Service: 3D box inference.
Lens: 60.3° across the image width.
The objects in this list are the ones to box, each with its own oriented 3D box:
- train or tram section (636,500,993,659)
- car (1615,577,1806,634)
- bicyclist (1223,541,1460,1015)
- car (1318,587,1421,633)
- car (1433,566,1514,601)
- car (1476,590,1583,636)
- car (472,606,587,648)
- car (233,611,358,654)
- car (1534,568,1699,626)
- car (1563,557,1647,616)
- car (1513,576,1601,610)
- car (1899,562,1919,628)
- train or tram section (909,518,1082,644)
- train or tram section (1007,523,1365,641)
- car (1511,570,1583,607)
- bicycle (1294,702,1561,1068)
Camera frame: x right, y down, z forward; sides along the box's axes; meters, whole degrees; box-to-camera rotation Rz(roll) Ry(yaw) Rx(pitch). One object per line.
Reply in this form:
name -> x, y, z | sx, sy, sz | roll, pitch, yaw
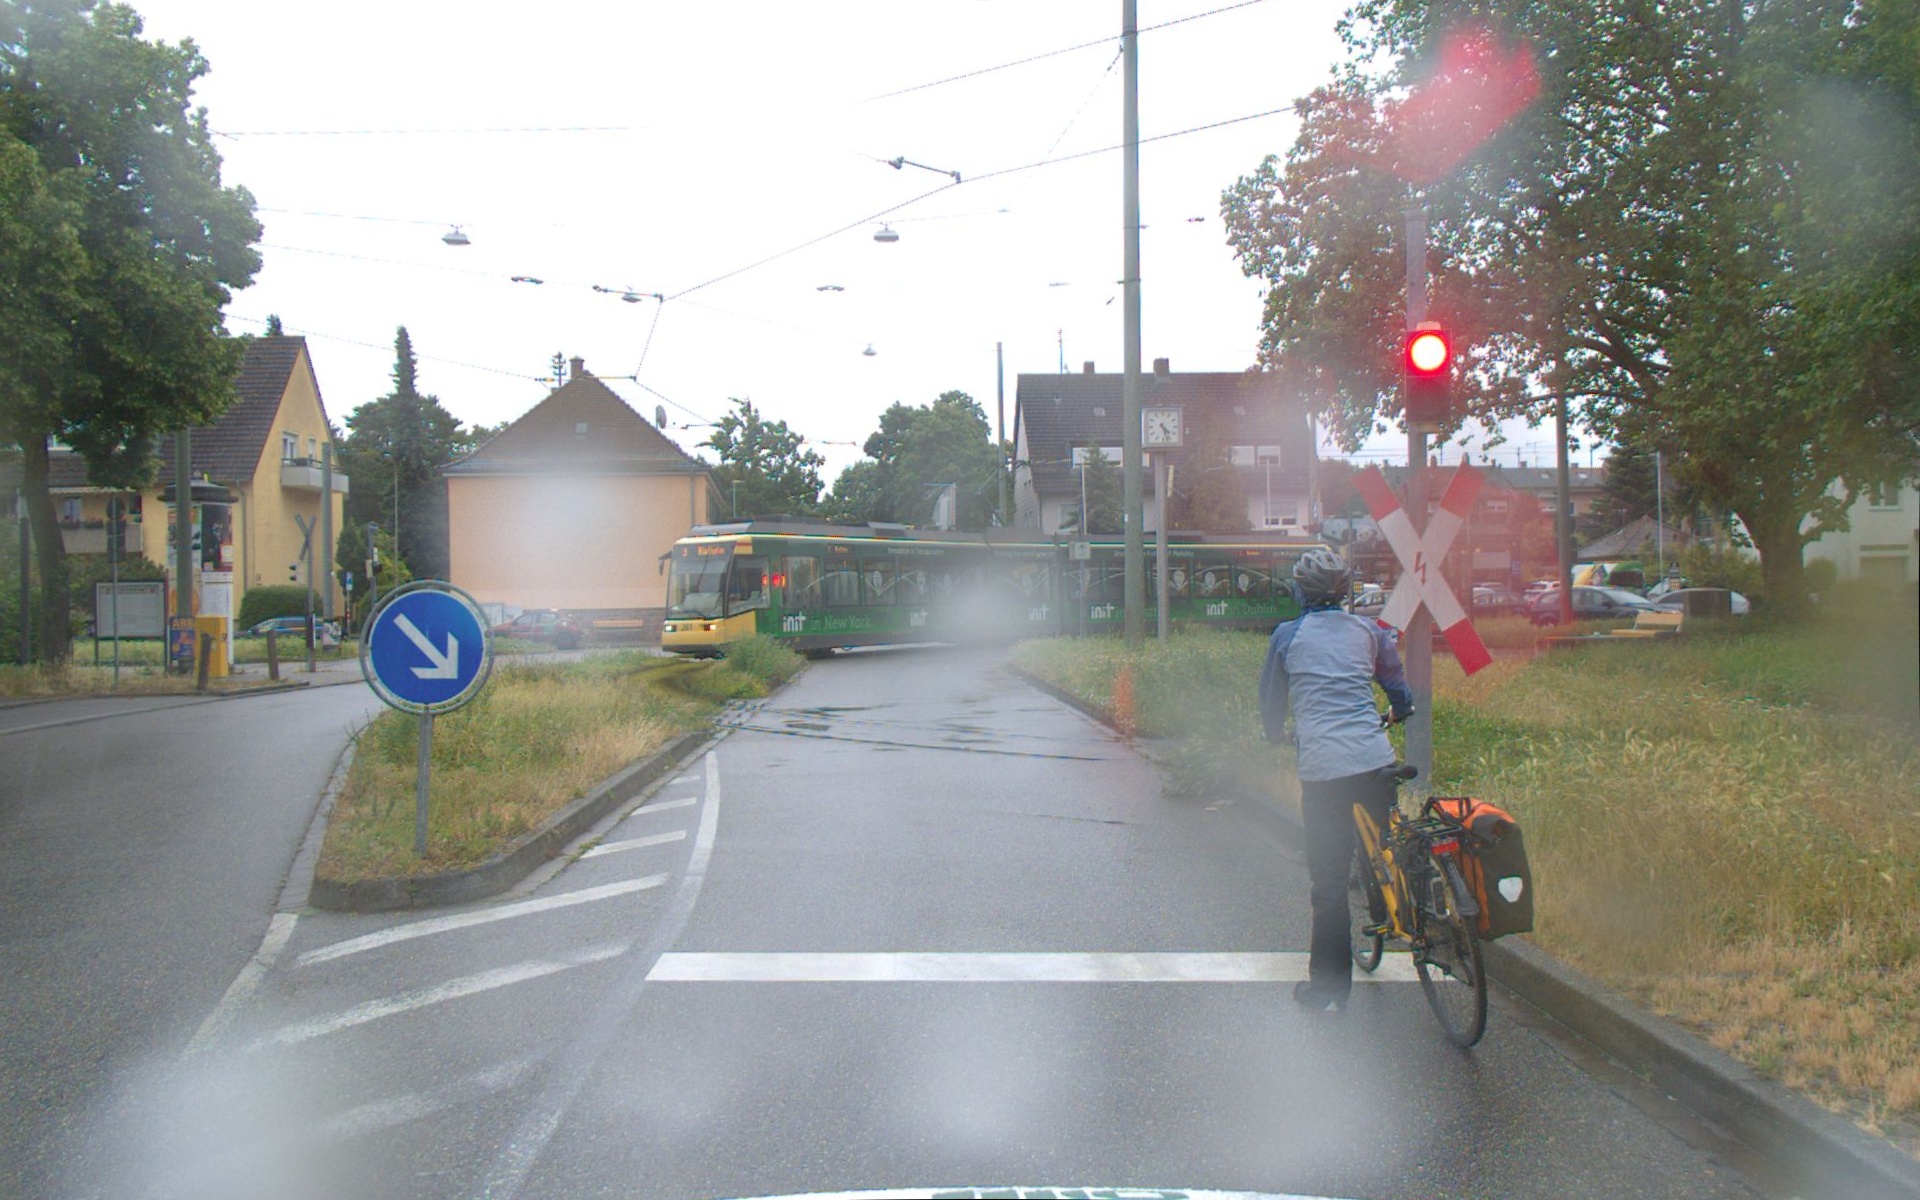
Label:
train or tram section -> -3.339, -0.534, 43.548 | 2.710, 3.615, 12.177 | 1, 1, 31
car -> 18.467, 0.146, 40.857 | 3.902, 1.308, 1.847 | 1, 0, 6
bicyclist -> 1.409, 0.628, 6.234 | 0.653, 1.654, 0.852 | 1, -1, -2
car -> 16.151, 0.385, 65.338 | 3.609, 1.731, 1.890 | 1, 0, 0
car -> 28.552, -0.917, 92.060 | 3.904, 1.822, 2.000 | 1, 0, 2
car -> 22.609, 0.500, 65.738 | 3.609, 1.731, 1.890 | 1, 0, 0
car -> -16.187, 1.006, 62.325 | 3.911, 1.482, 1.831 | 1, 0, -7
car -> -24.442, 1.188, 60.955 | 3.911, 1.482, 1.831 | 1, 0, -7
car -> 18.015, -0.079, 45.493 | 3.848, 1.522, 1.798 | 1, -1, 43
car -> 28.824, -0.574, 74.022 | 1.953, 2.485, 4.352 | 1, 0, -2
car -> 31.064, -0.368, 86.069 | 3.905, 1.668, 1.846 | 1, 0, -1
car -> 28.137, -0.118, 45.524 | 3.703, 1.829, 1.798 | 1, -1, 43
train or tram section -> 1.125, -0.597, 50.378 | 2.719, 3.615, 4.960 | 1, 1, 41
train or tram section -> 7.776, -0.502, 55.187 | 12.953, 3.615, 2.741 | 1, 0, -31
car -> 34.185, -0.651, 96.441 | 1.963, 2.049, 3.978 | 1, 0, -19
bicycle -> 1.648, 0.950, 6.072 | 0.437, 1.022, 1.727 | -1, 1, -2
